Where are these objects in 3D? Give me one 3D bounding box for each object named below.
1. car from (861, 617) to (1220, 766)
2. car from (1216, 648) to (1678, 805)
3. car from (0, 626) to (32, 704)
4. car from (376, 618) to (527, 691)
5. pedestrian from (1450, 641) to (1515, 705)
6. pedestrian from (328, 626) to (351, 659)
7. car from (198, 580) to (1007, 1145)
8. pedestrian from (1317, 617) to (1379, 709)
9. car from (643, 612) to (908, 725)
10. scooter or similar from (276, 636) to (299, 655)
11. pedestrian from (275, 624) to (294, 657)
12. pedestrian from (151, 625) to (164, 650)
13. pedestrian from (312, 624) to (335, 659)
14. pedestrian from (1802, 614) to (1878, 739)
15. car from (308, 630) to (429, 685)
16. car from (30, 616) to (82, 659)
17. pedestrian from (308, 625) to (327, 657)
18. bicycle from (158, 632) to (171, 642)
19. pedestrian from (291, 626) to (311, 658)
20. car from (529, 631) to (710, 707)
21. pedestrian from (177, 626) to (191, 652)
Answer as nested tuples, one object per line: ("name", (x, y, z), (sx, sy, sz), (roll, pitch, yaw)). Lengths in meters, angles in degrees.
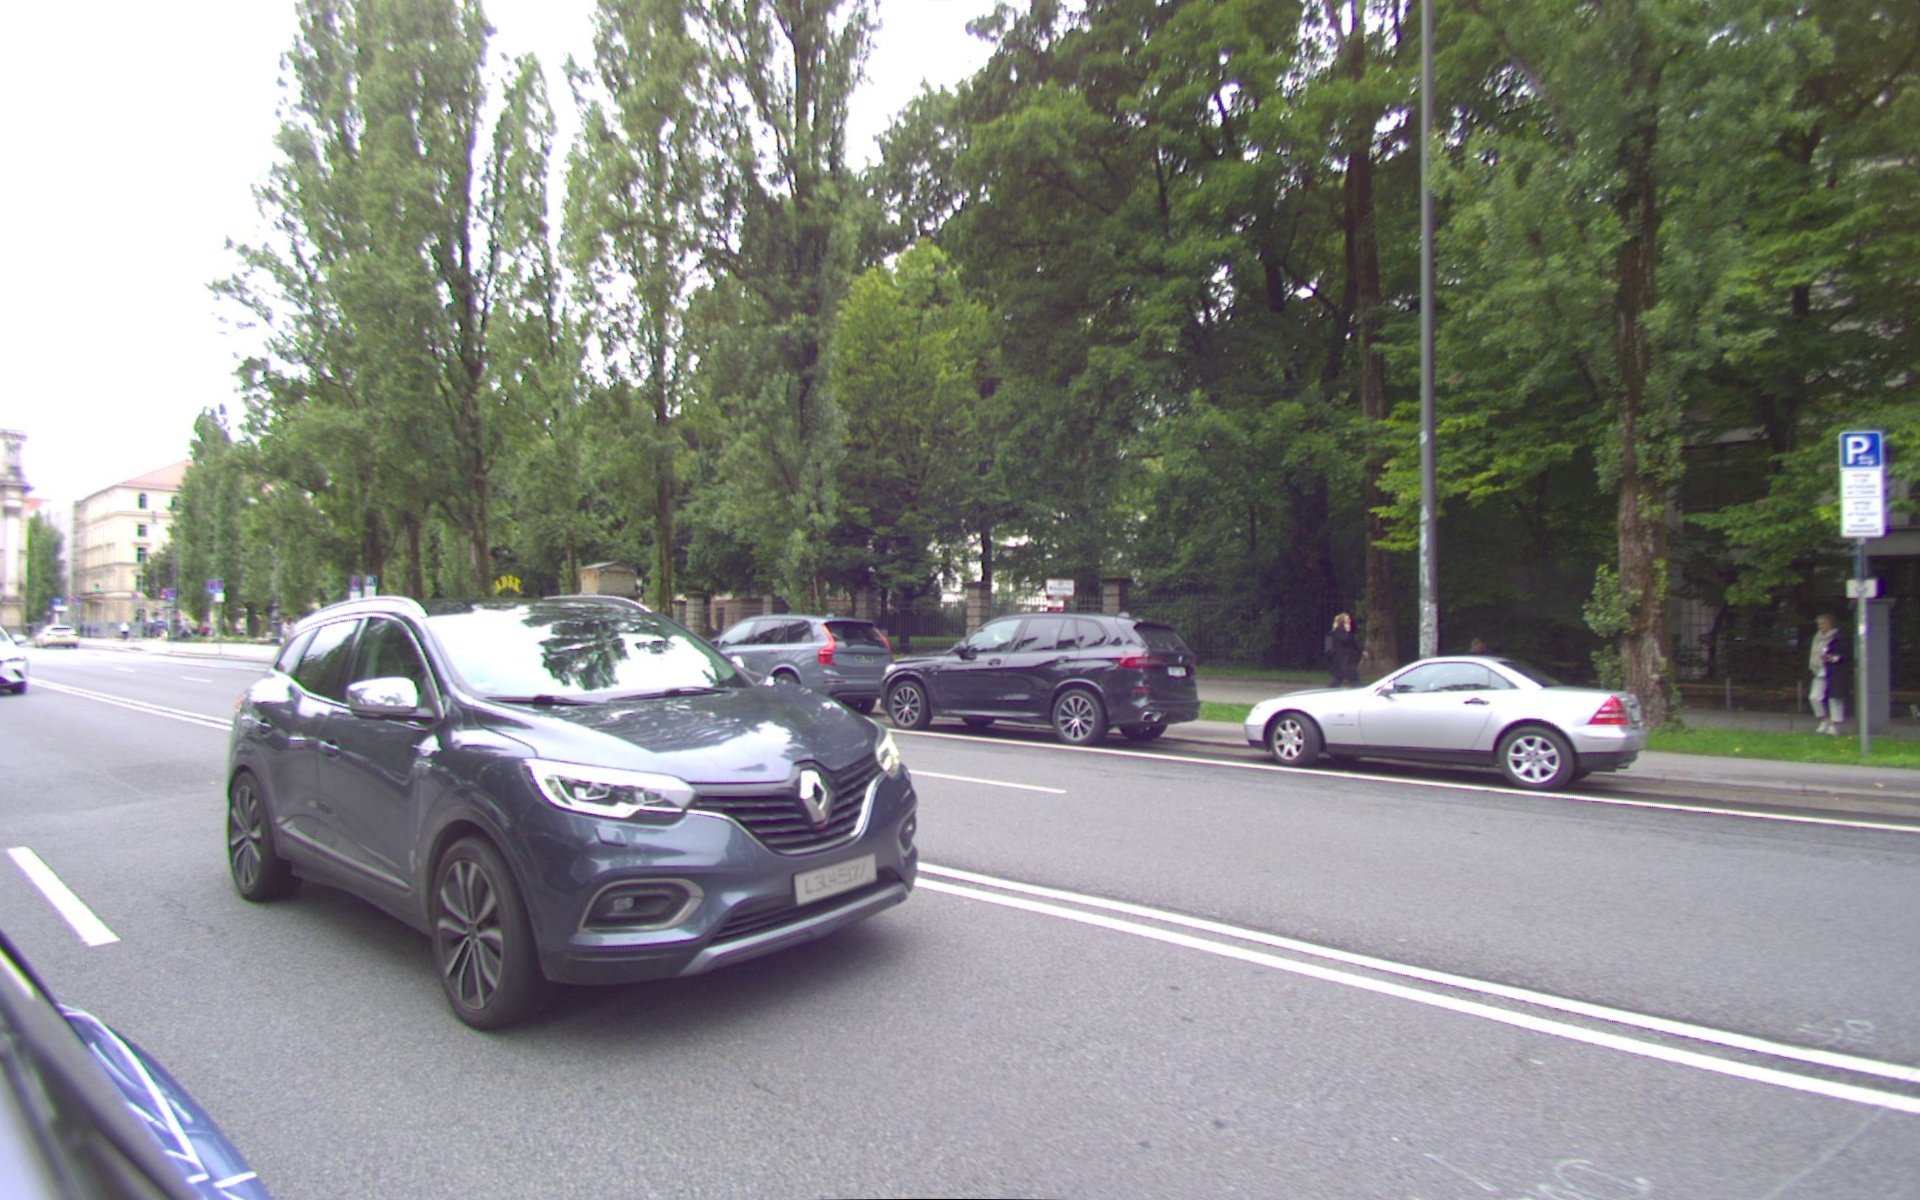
("car", (1.025, 1.203, 14.479), (4.891, 1.781, 1.921), (-1, -5, 39))
("car", (5.160, 1.240, 11.054), (4.230, 1.344, 1.807), (-1, -4, 40))
("car", (-20.677, 1.309, 20.847), (4.007, 1.537, 1.885), (-2, -2, 42))
("car", (-13.822, 1.458, 27.371), (4.799, 1.800, 2.024), (-2, -4, 43))
("pedestrian", (10.272, 1.414, 19.886), (0.922, 1.187, 0.957), (-1, -1, 41))
("pedestrian", (-33.591, 2.299, 54.794), (1.092, 1.786, 0.702), (-2, -2, 40))
("car", (-1.990, 0.779, 4.917), (4.181, 1.598, 1.817), (-1, -1, 40))
("pedestrian", (7.667, 1.221, 19.985), (0.956, 1.755, 0.659), (-2, -2, 41))
("car", (-3.499, 1.196, 18.539), (5.176, 1.803, 1.890), (-1, -5, 40))
("scooter or similar", (-42.587, 2.886, 64.059), (1.413, 1.187, 0.738), (-2, -4, 36))
("pedestrian", (-36.631, 2.200, 54.903), (0.907, 1.760, 0.623), (-2, -3, 40))
("pedestrian", (-56.191, 2.627, 70.835), (0.581, 1.744, 0.527), (-1, -2, 29))
("pedestrian", (-34.134, 2.232, 54.248), (1.092, 1.847, 0.702), (-2, -2, 40))
("pedestrian", (12.237, 1.043, 14.088), (0.751, 1.677, 0.730), (-2, -3, 41))
("car", (-18.486, 1.776, 31.578), (4.386, 1.596, 1.924), (-2, -4, 41))
("car", (-57.980, 2.384, 64.865), (4.474, 1.344, 1.774), (23, 13, 37))
("pedestrian", (-35.636, 2.279, 56.113), (0.910, 1.729, 0.653), (-2, -3, 40))
("bicycle", (-79.410, 3.659, 101.016), (1.912, 0.959, 0.666), (-2, -1, 40))
("pedestrian", (-36.065, 2.282, 55.366), (0.885, 1.713, 0.681), (-2, -3, 40))
("car", (-7.384, 1.437, 21.769), (4.269, 1.470, 1.687), (-1, -4, 40))
("pedestrian", (-52.183, 2.647, 68.025), (0.581, 1.744, 0.527), (-1, -2, 29))
